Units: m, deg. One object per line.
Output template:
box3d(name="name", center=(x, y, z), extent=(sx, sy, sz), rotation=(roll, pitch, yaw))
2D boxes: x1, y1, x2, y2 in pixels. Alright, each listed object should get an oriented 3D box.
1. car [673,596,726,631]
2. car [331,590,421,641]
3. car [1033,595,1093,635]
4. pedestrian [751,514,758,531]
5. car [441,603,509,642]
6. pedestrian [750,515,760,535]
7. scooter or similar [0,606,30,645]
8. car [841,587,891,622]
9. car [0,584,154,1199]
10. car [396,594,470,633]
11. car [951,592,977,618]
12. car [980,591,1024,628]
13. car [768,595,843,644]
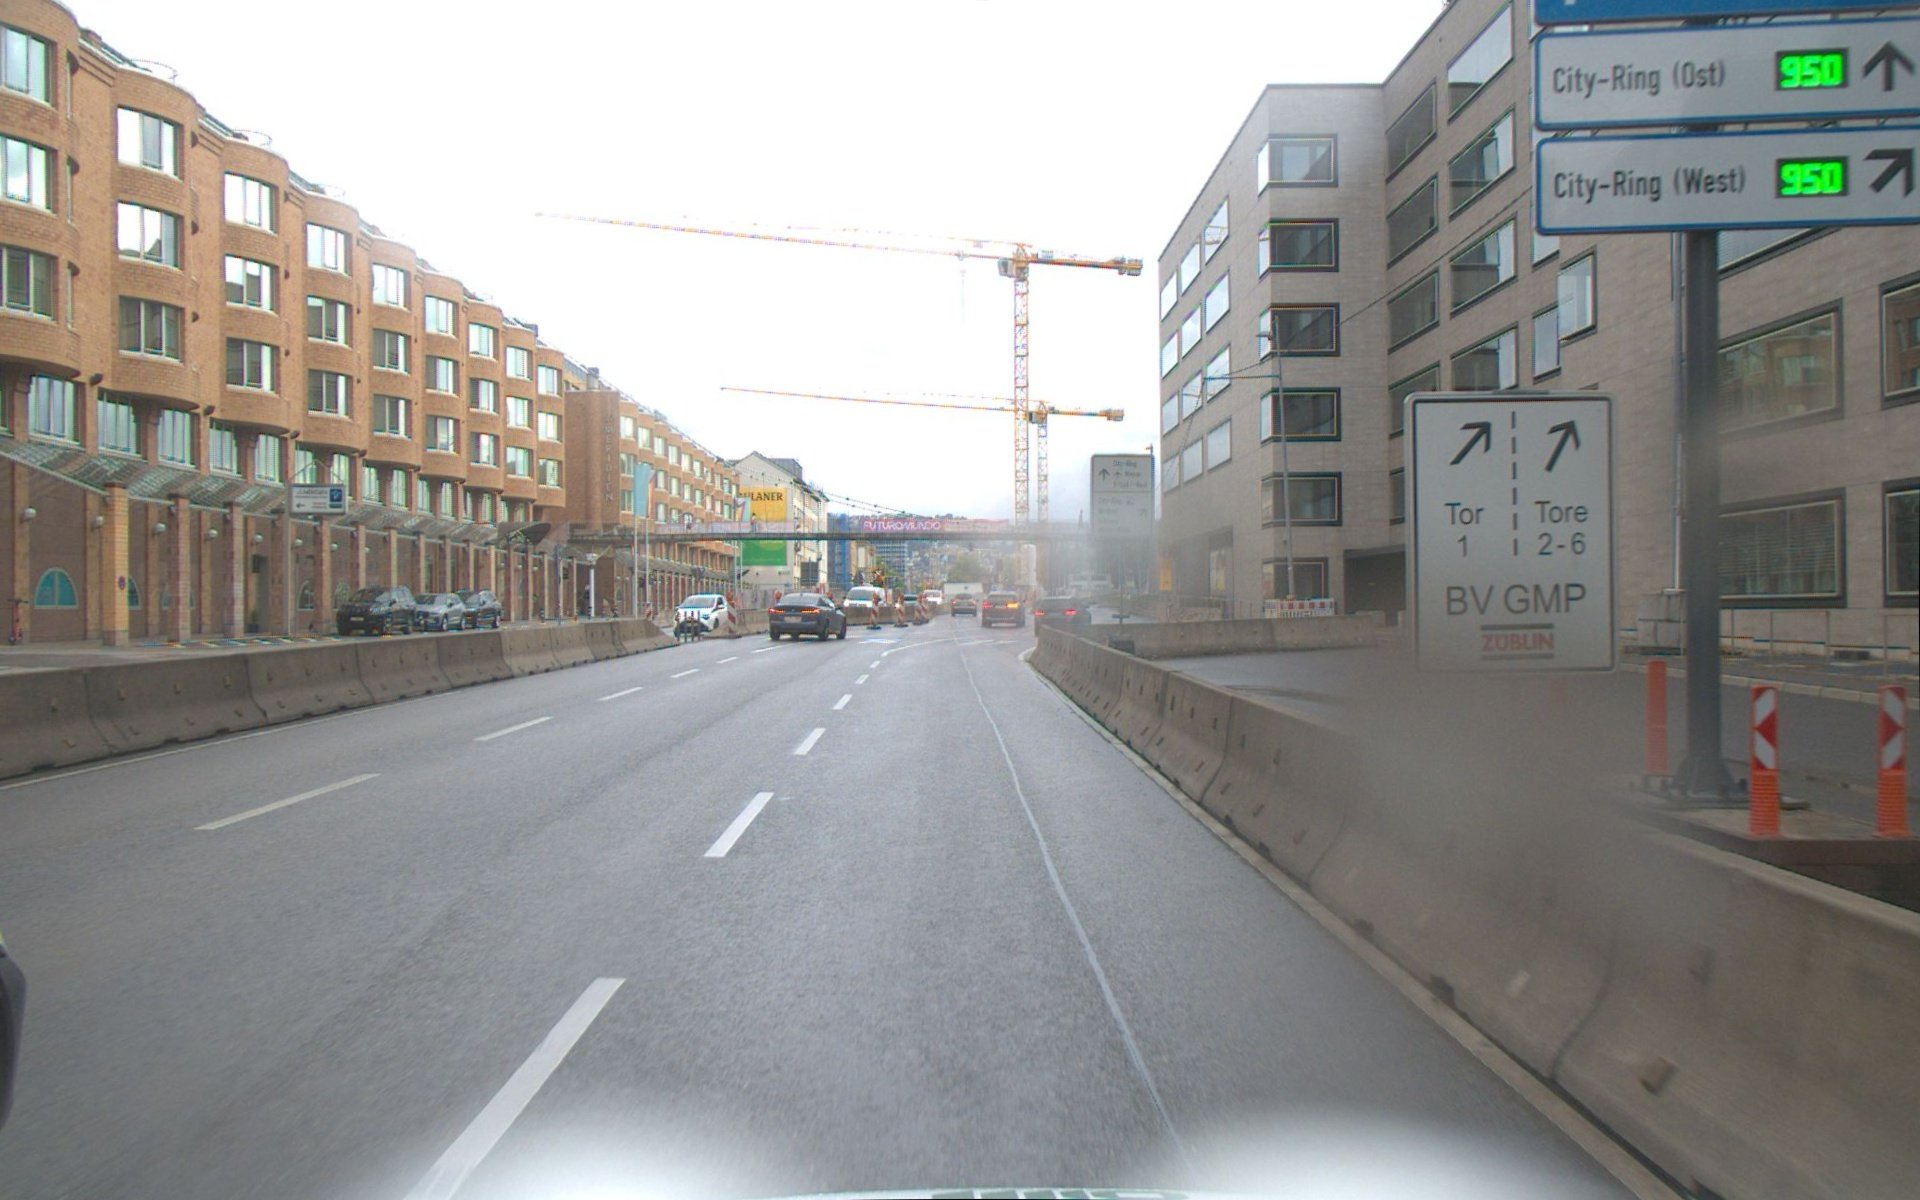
box3d(name="car", center=(-9.639, 0.466, 61.388), extent=(1.580, 1.253, 3.724), rotation=(0, 0, -4))
box3d(name="car", center=(-23.125, 0.575, 65.686), extent=(1.953, 1.919, 5.012), rotation=(0, 0, -2))
box3d(name="car", center=(3.995, 0.551, 63.512), extent=(1.823, 1.458, 4.660), rotation=(0, 0, 10))
box3d(name="pedestrian", center=(-15.250, -5.727, 122.768), extent=(0.465, 1.215, 0.484), rotation=(-2, 0, 3))
box3d(name="car", center=(-22.915, 1.038, 78.320), extent=(1.954, 1.720, 5.047), rotation=(0, 0, -3))
box3d(name="pedestrian", center=(-15.203, -5.580, 122.744), extent=(0.607, 1.477, 0.618), rotation=(-2, 0, 3))
box3d(name="scooter or similar", center=(-26.483, 0.702, 46.308), extent=(0.441, 1.081, 1.042), rotation=(0, 0, -11))
box3d(name="car", center=(-4.994, 0.226, 88.218), extent=(1.846, 1.814, 4.881), rotation=(0, 0, 7))
box3d(name="car", center=(-2.962, 0.709, 2.020), extent=(1.732, 1.468, 4.655), rotation=(0, 0, -1))
box3d(name="car", center=(-23.106, 0.559, 72.655), extent=(1.953, 1.621, 4.538), rotation=(0, 0, -3))
box3d(name="car", center=(0.274, 0.350, 117.920), extent=(1.825, 1.796, 4.655), rotation=(0, 0, -1))
box3d(name="car", center=(2.011, 0.424, 78.014), extent=(1.823, 1.690, 4.659), rotation=(0, 0, 5))
box3d(name="car", center=(-4.836, 0.579, 52.287), extent=(1.824, 1.468, 4.657), rotation=(0, 0, 2))
